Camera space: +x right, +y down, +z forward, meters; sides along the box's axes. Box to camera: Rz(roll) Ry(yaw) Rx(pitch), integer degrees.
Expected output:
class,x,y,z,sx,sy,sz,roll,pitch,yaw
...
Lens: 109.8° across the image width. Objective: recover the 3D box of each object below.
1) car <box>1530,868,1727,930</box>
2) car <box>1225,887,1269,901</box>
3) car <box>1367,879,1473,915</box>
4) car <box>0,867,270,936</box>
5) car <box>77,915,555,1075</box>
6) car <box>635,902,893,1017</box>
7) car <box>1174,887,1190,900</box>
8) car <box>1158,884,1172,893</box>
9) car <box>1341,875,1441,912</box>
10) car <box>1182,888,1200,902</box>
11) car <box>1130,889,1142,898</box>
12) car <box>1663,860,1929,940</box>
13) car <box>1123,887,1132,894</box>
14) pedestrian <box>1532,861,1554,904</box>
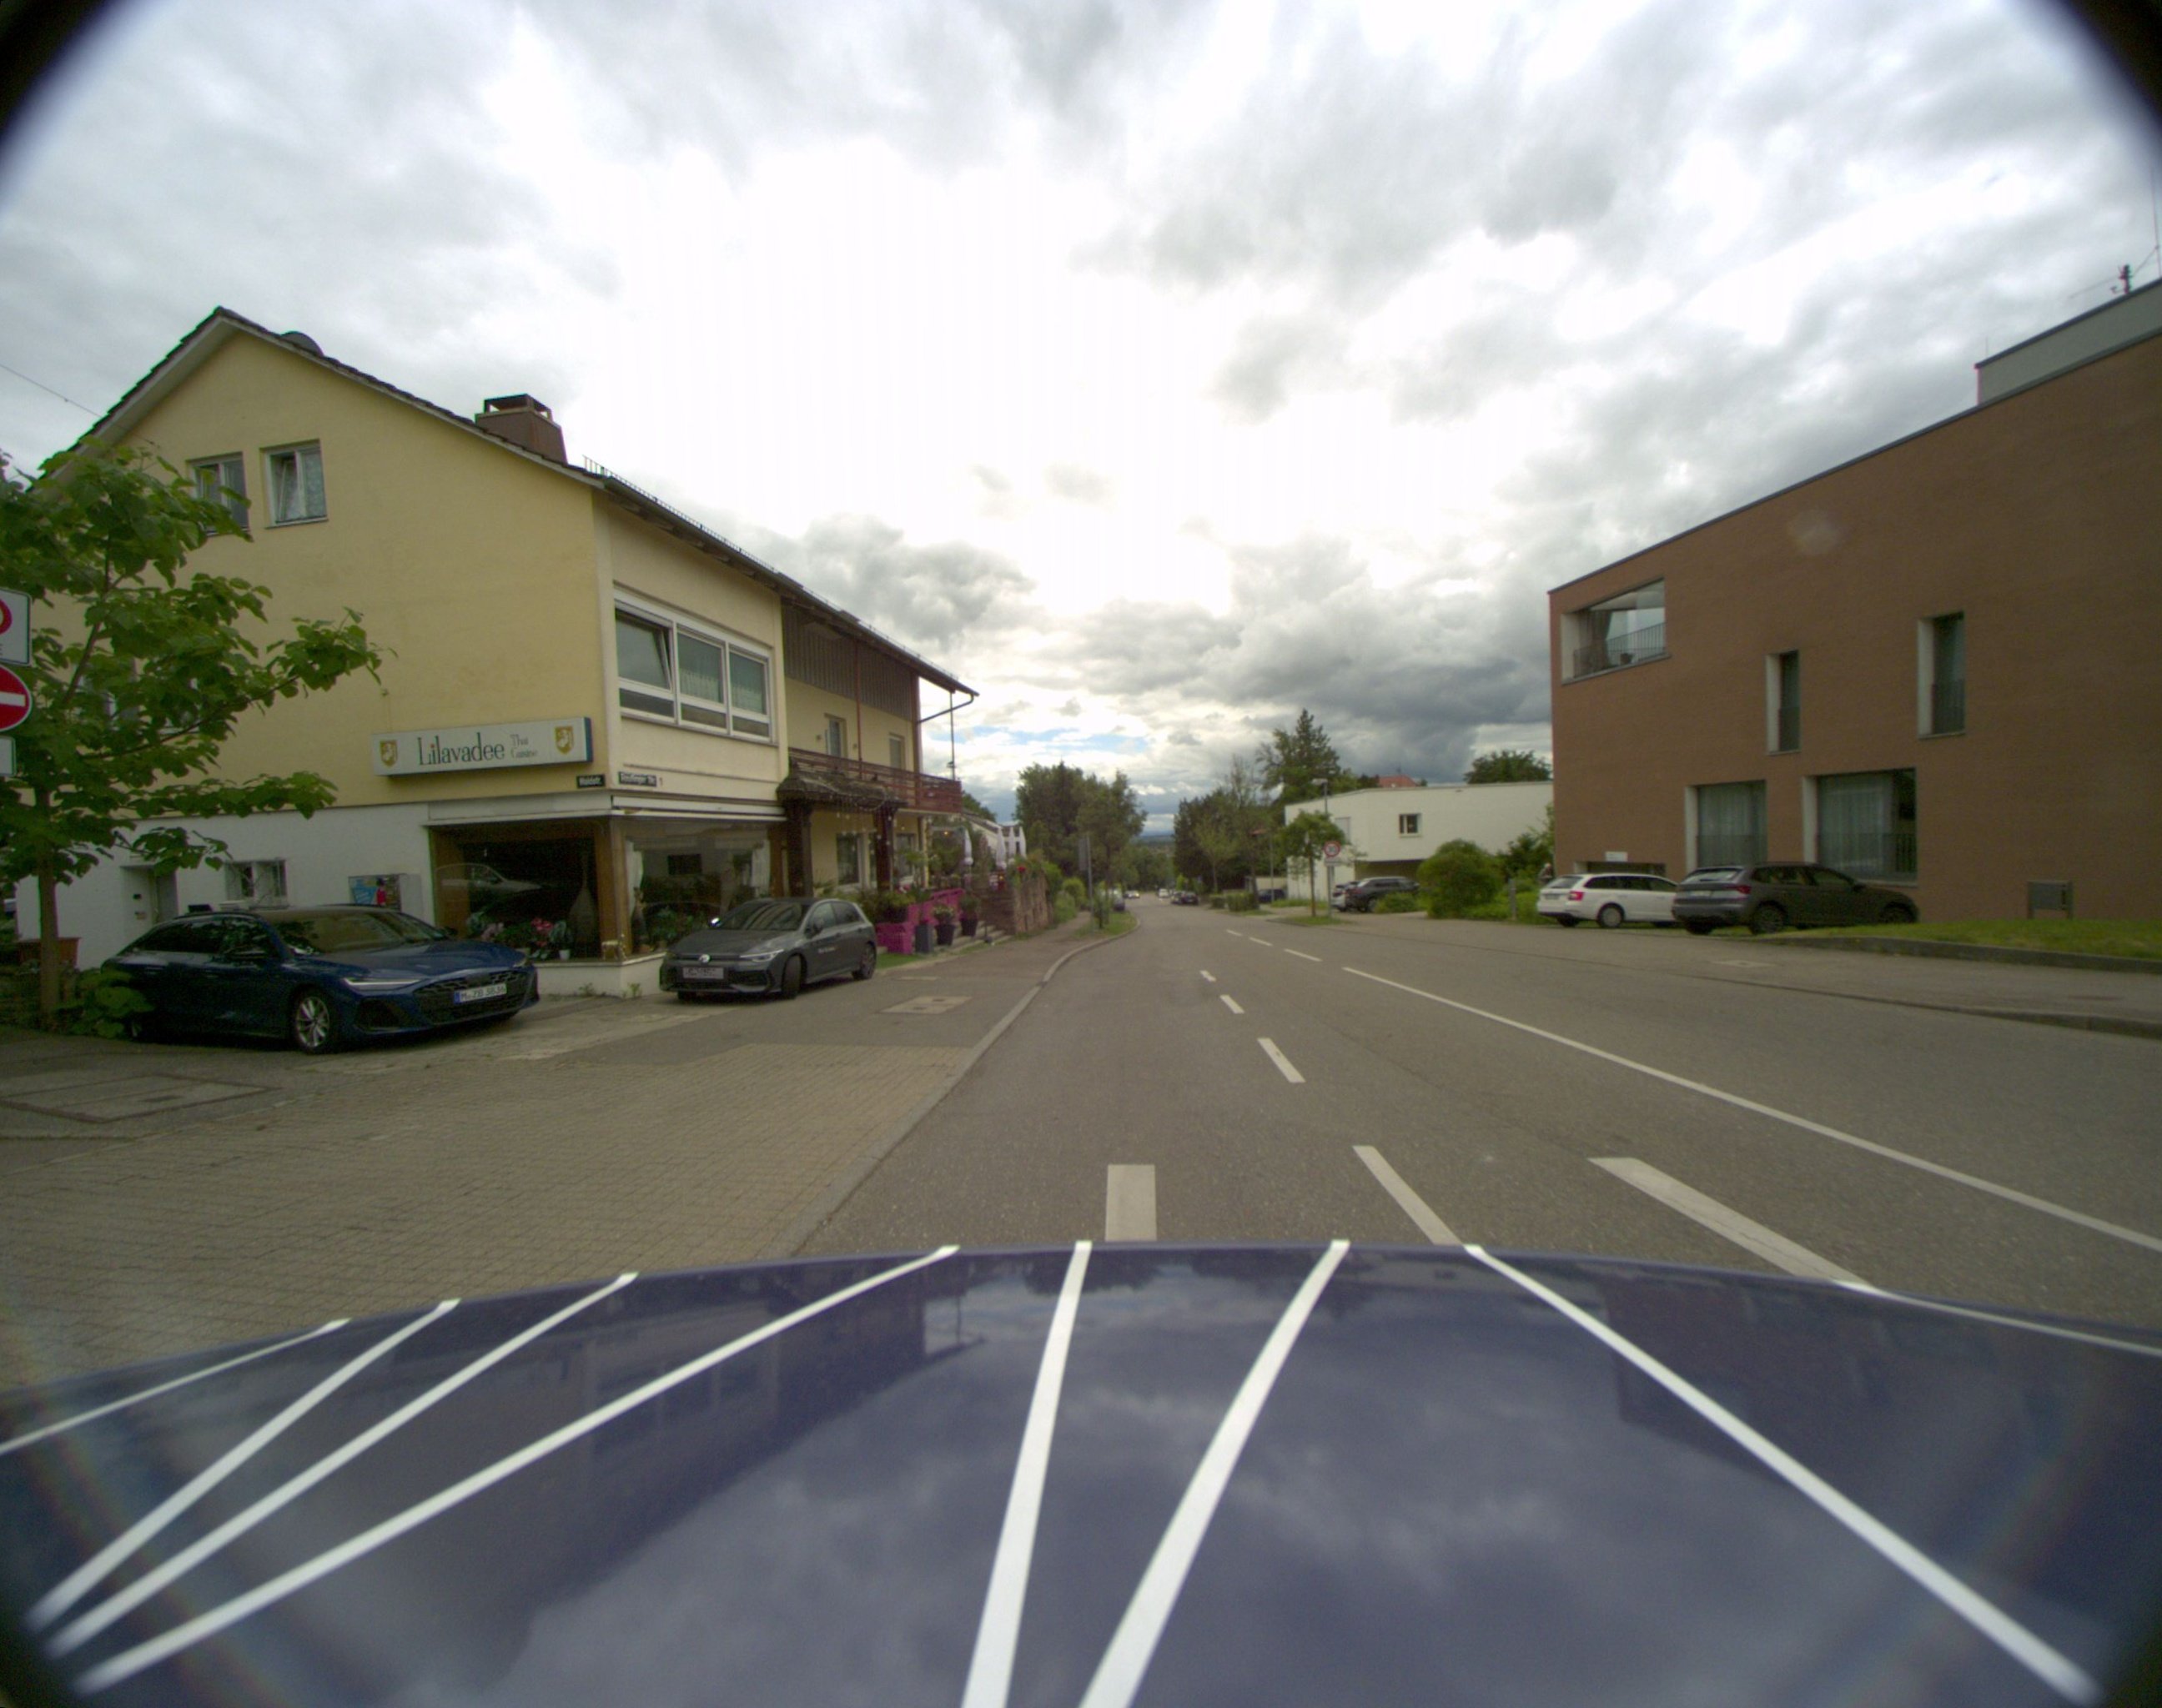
class,x,y,z,sx,sy,sz,roll,pitch,yaw
car,14.460,1.187,20.192,3.998,1.476,1.727,-1,-3,-4
car,15.984,3.832,73.220,3.995,1.278,1.665,-2,-3,7
car,15.338,1.934,34.518,3.996,1.476,1.728,-2,-3,2
car,-22.764,1.136,18.075,1.795,1.452,4.336,-2,-4,22
car,-8.595,1.439,8.588,4.739,1.378,1.802,-2,-2,17
car,-4.635,1.502,11.956,1.796,1.452,4.332,-1,-4,7
car,11.817,4.648,89.029,1.661,1.412,4.372,-2,-3,5
car,15.155,6.209,137.450,1.884,1.412,4.368,-1,-1,-3
car,14.777,1.894,36.357,3.996,1.585,1.795,-2,-3,2
car,11.568,4.319,80.032,1.661,1.412,4.004,-2,-3,5
car,9.735,6.967,134.574,1.884,1.412,4.368,-1,-1,-1
car,14.790,0.941,15.863,3.998,1.476,1.727,-1,-3,-4
car,11.090,8.760,182.461,1.883,1.412,4.369,-1,-1,0
pedestrian,20.624,1.258,33.922,0.597,1.896,0.558,-1,0,1
